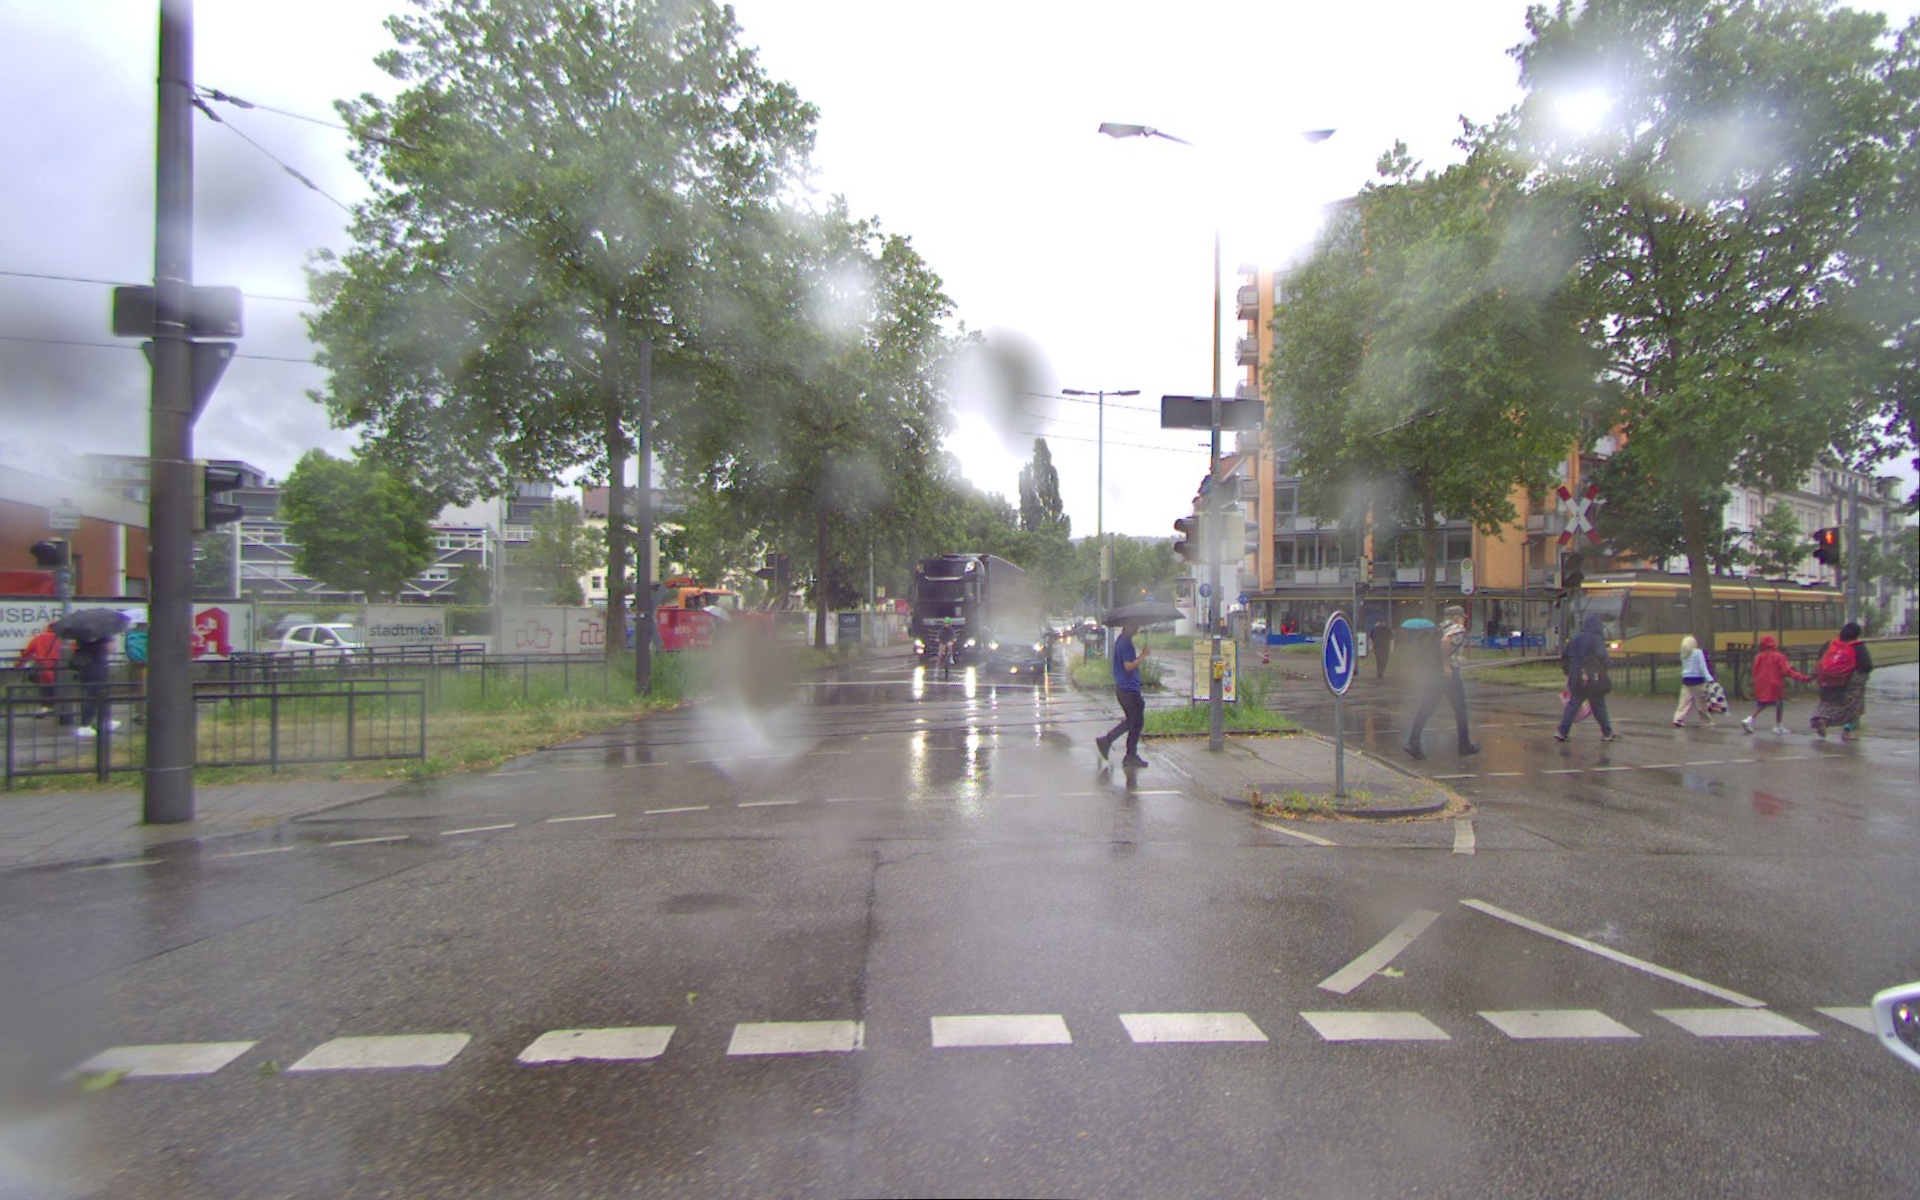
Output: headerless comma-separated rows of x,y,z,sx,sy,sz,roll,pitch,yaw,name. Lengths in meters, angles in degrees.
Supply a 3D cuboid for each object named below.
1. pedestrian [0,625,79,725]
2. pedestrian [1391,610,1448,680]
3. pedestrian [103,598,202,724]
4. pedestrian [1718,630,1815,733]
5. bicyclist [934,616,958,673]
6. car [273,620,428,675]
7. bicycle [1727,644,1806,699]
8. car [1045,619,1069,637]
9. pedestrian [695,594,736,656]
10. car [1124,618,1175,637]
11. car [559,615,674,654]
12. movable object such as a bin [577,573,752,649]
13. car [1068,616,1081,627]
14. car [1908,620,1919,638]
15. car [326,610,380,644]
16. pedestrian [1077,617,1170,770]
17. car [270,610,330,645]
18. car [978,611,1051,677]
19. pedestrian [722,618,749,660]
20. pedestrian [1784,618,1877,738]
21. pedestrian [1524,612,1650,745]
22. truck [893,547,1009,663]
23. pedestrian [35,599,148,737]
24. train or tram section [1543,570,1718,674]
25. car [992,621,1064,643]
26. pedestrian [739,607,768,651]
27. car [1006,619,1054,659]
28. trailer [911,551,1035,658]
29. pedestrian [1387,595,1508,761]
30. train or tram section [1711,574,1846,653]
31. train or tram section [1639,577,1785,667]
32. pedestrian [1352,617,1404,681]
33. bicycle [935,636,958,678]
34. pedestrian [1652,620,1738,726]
-14.820,1.177,16.059,0.815,1.524,0.846,0,0,-18,pedestrian
13.053,1.256,28.572,1.150,1.890,1.386,1,0,12,pedestrian
-12.547,0.925,15.634,0.941,1.887,0.846,0,0,-18,pedestrian
11.531,1.139,14.371,0.995,1.400,0.670,0,0,-20,pedestrian
-0.377,1.160,26.507,0.570,1.480,1.010,0,-1,-3,bicyclist
-16.501,1.243,27.206,3.595,1.339,1.843,1,0,24,car
16.755,1.472,20.872,1.592,1.091,0.445,1,0,-16,bicycle
8.234,2.348,84.829,1.744,1.422,4.833,1,-1,8,car
-8.080,0.824,33.214,0.893,1.990,1.215,0,-1,10,pedestrian
16.003,2.287,84.999,4.118,1.589,1.890,0,-1,8,car
-12.596,1.244,36.895,3.592,1.339,1.844,1,0,17,car
-12.285,0.436,41.768,6.645,2.969,2.775,0,0,20,movable object such as a bin
17.783,3.263,155.990,1.745,1.550,4.001,1,1,3,car
83.966,2.536,87.272,3.969,1.553,1.976,1,-1,-41,car
-32.774,1.438,54.315,1.973,1.760,4.395,1,0,-24,car
1.779,0.991,10.990,0.847,1.602,0.642,-1,0,-7,pedestrian
-35.052,1.416,53.486,1.973,1.760,4.559,1,0,-24,car
1.748,1.293,31.589,2.039,1.705,4.931,3,1,4,car
-8.412,1.449,37.710,0.631,1.535,0.770,-1,-1,32,pedestrian
11.837,1.037,13.663,0.751,1.568,0.688,0,0,-23,pedestrian
8.396,1.018,13.496,1.036,1.709,0.995,-1,0,-7,pedestrian
-0.171,0.191,39.495,3.391,4.133,6.978,0,0,10,truck
-12.333,0.936,14.297,0.941,1.887,0.846,0,0,-18,pedestrian
24.595,0.787,36.662,8.295,3.414,2.619,1,0,-36,train or tram section
4.766,2.206,71.001,4.858,1.473,2.075,-1,-1,42,car
-7.932,1.113,38.570,0.899,1.671,0.746,0,-1,-36,pedestrian
2.717,1.437,38.208,1.669,1.391,4.102,0,0,6,car
1.031,0.250,46.395,3.383,4.103,15.060,0,-1,10,trailer
5.583,0.852,11.518,0.981,1.805,0.807,0,0,-25,pedestrian
38.526,0.659,47.121,9.893,3.396,2.618,1,0,-37,train or tram section
31.245,0.898,41.609,8.297,3.396,2.618,1,0,-37,train or tram section
12.222,1.410,29.407,1.017,1.812,1.237,0,0,1,pedestrian
-0.368,1.490,26.545,0.523,1.038,1.874,0,-1,-3,bicycle
11.321,1.090,15.468,1.057,1.546,0.868,0,0,-42,pedestrian
